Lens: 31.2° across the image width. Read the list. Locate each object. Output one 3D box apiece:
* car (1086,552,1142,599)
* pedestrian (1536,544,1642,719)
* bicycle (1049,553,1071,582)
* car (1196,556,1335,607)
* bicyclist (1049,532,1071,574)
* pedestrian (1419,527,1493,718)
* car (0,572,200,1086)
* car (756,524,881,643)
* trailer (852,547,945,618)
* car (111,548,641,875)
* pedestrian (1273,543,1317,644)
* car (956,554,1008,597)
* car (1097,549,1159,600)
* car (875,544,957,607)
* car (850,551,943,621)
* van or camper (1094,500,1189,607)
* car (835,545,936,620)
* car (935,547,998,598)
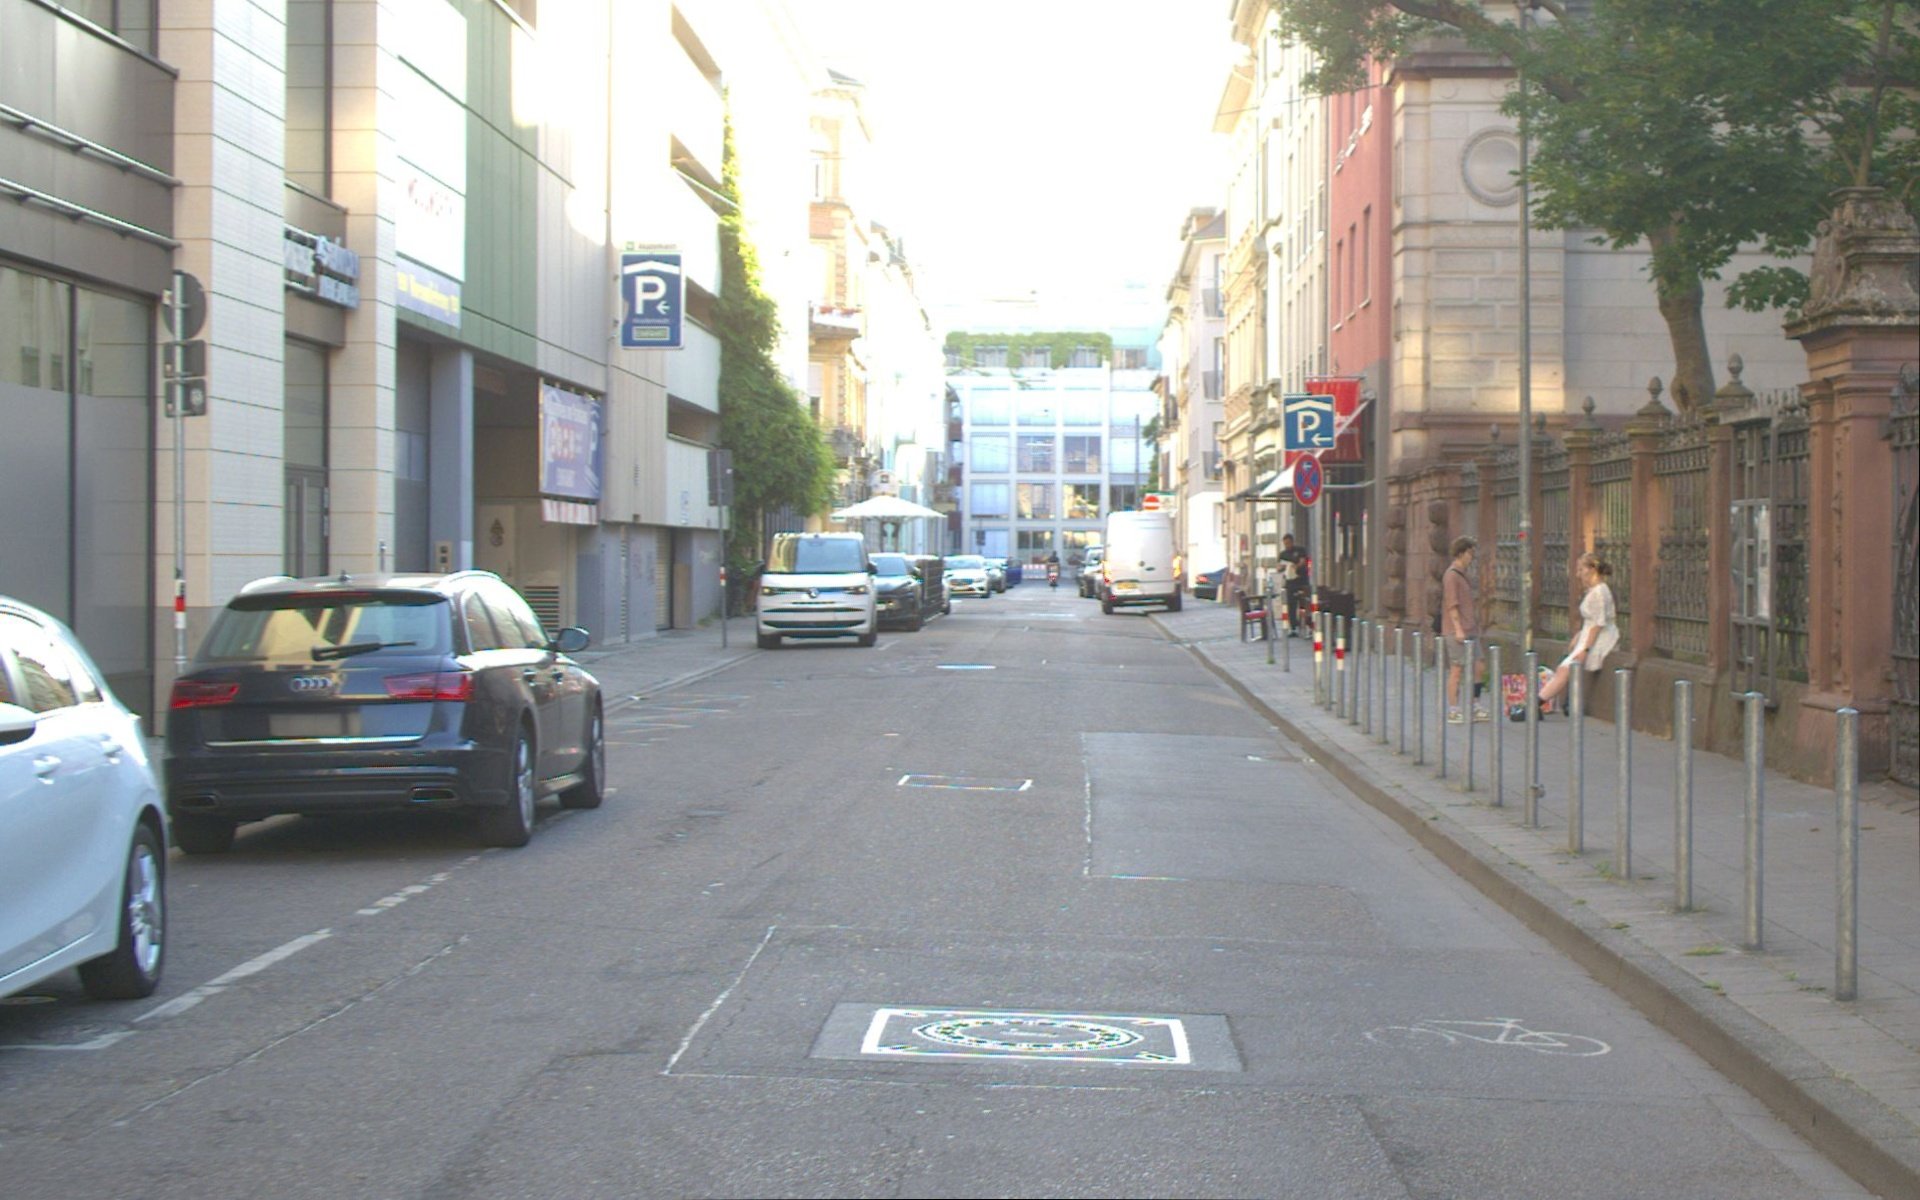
[{"bbox_3d":[5.679,-0.884,127.218,1.993,1.678,4.000,1,0,2],"label":"car"},{"bbox_3d":[5.492,0.268,30.037,0.749,1.494,0.619,-1,1,-3],"label":"pedestrian"},{"bbox_3d":[4.525,-1.471,155.552,0.975,1.276,2.754,1,0,2],"label":"bicycle"},{"bbox_3d":[8.986,-0.543,101.246,3.987,1.415,1.656,1,0,2],"label":"car"},{"bbox_3d":[4.523,-2.128,155.175,0.990,1.862,0.708,1,0,2],"label":"bicyclist"},{"bbox_3d":[4.361,0.195,30.260,0.484,1.652,0.619,-1,1,-5],"label":"pedestrian"},{"bbox_3d":[-3.628,0.653,10.214,1.777,1.448,4.231,0,1,0],"label":"car"},{"bbox_3d":[-2.326,-0.302,57.717,1.883,1.905,4.748,0,1,0],"label":"car"},{"bbox_3d":[-1.377,-0.395,78.101,1.993,1.552,4.000,1,0,1],"label":"trailer"},{"bbox_3d":[-3.104,0.513,19.293,1.883,1.592,4.689,1,1,4],"label":"car"},{"bbox_3d":[5.601,-0.109,57.490,0.662,1.660,0.624,-1,1,2],"label":"pedestrian"},{"bbox_3d":[0.901,-0.979,139.602,1.993,1.678,4.000,1,0,2],"label":"car"},{"bbox_3d":[5.622,-0.852,115.382,1.993,1.678,4.000,1,0,2],"label":"car"},{"bbox_3d":[-1.038,-0.601,82.659,1.883,1.448,4.000,0,1,0],"label":"car"},{"bbox_3d":[-1.337,-0.325,73.750,1.883,1.448,4.000,0,1,0],"label":"car"},{"bbox_3d":[4.749,-1.204,90.605,2.258,2.598,5.111,-4,0,2],"label":"van or camper"},{"bbox_3d":[-1.464,-0.367,68.864,1.883,1.448,4.000,0,1,0],"label":"car"},{"bbox_3d":[0.228,-0.924,116.978,1.993,1.678,4.000,1,0,2],"label":"car"}]
